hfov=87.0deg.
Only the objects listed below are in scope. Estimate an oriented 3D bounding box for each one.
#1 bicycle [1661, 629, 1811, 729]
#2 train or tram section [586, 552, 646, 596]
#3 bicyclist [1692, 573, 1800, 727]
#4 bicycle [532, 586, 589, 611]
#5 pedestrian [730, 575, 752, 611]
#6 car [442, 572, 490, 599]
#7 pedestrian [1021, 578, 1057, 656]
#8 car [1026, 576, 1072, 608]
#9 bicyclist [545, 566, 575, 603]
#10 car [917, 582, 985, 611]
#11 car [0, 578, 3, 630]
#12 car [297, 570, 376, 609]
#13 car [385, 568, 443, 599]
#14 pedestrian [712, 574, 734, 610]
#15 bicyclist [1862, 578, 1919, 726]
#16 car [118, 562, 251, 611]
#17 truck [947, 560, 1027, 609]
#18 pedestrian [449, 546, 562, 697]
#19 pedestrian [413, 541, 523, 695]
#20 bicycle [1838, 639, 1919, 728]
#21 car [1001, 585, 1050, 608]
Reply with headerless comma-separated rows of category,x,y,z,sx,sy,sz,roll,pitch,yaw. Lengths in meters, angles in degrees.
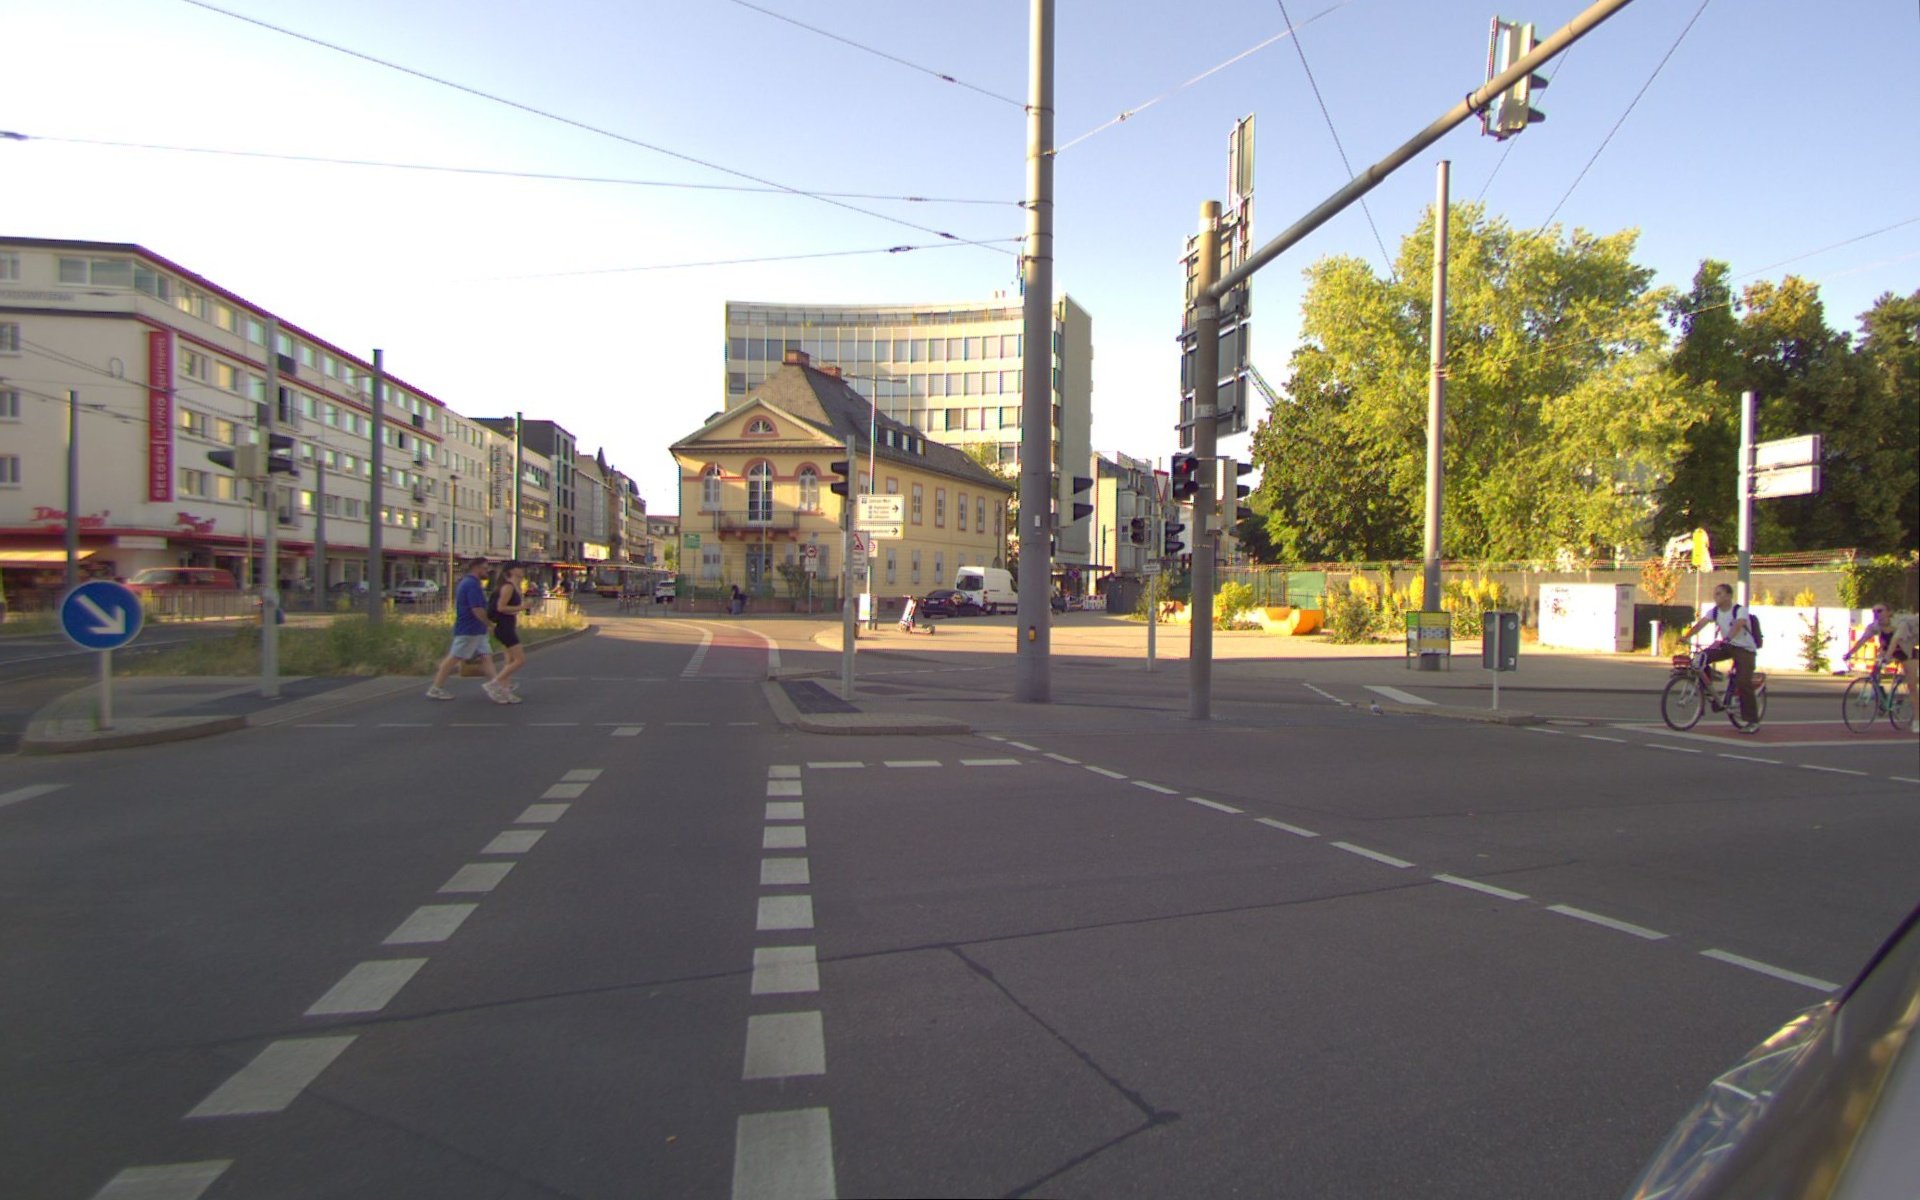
bicycle,9.318,0.921,12.150,1.770,1.115,0.544,0,-1,-20
train or tram section,-32.510,-2.458,96.241,3.638,3.881,13.387,0,1,-11
bicyclist,9.499,0.583,12.234,1.038,1.791,0.544,0,-1,-20
bicycle,-15.768,-0.048,39.980,0.721,0.960,1.962,-1,-1,40
pedestrian,-10.325,-0.336,47.680,0.803,1.663,0.685,1,-1,-39
car,-38.450,-1.069,78.851,1.959,2.039,4.879,0,0,-8
pedestrian,1.847,0.397,23.865,0.746,1.785,1.008,0,-1,-1
car,5.751,-0.498,64.863,1.697,2.006,3.727,0,0,26
bicyclist,-15.793,-0.600,39.968,0.721,1.476,0.885,-1,-1,41
car,-0.393,-0.136,50.426,1.697,1.382,4.156,0,0,26
car,-30.025,0.124,29.642,1.806,1.638,4.005,0,0,-27
car,-34.549,-0.556,56.263,1.959,2.039,4.879,0,0,-8
car,-37.697,-1.102,70.045,1.959,2.039,4.879,0,0,-8
pedestrian,-11.029,-0.357,47.079,0.803,1.663,0.685,1,-1,-39
bicyclist,11.716,0.618,12.442,0.775,1.768,0.617,0,-1,-20
car,-31.035,-0.516,40.691,1.867,1.866,4.627,0,0,-1
truck,1.567,-0.796,55.755,2.278,2.581,5.588,0,0,26
pedestrian,-5.415,0.247,12.095,0.693,1.704,1.028,-1,-1,37
pedestrian,-6.086,0.217,12.539,0.693,1.816,1.028,-1,-1,37
bicycle,11.668,1.002,12.455,1.658,1.014,0.544,0,-1,-20
car,3.967,-0.200,60.928,1.697,1.382,3.727,0,0,26
